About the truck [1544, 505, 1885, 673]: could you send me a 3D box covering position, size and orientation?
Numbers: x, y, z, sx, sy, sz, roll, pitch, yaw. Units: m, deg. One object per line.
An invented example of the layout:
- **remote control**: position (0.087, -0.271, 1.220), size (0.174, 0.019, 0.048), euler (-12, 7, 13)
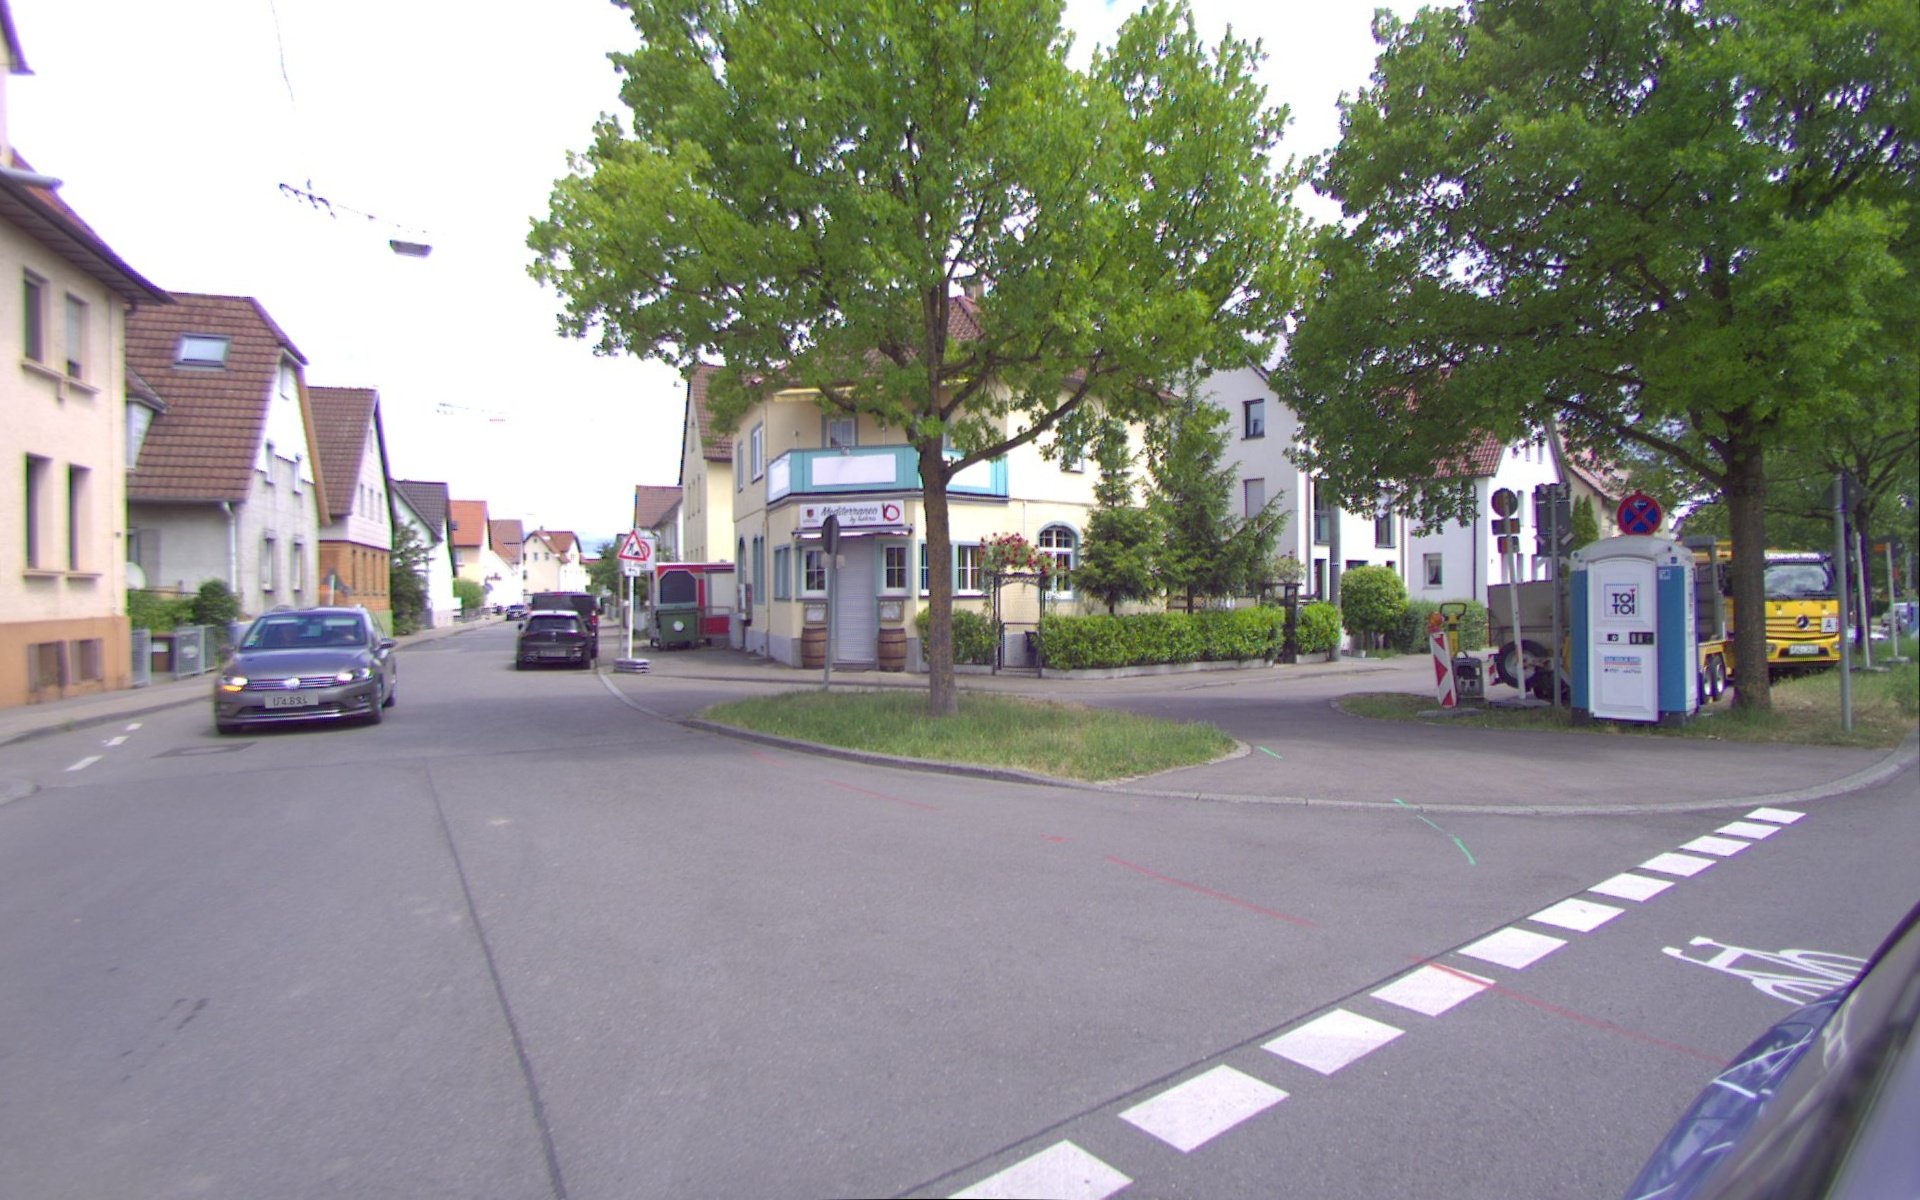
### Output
- **truck**: position (16.538, -0.050, 22.933), size (2.296, 3.241, 6.633), euler (1, -3, -4)

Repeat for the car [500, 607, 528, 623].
- **car**: position (-39.528, 1.343, 89.793), size (1.958, 1.349, 4.008), euler (1, 0, -19)

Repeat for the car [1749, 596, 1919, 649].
- **car**: position (29.087, 0.696, 33.819), size (1.961, 1.598, 4.308), euler (1, 1, -1)

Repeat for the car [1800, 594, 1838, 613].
- **car**: position (80.792, 0.282, 95.204), size (1.983, 1.751, 4.060), euler (0, 0, 30)

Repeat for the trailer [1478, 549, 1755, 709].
- **trailer**: position (11.315, 0.446, 17.256), size (5.577, 2.274, 2.595), euler (0, -2, -43)

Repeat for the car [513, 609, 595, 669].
- **car**: position (-10.301, 0.938, 25.914), size (1.678, 1.395, 4.008), euler (0, 0, -18)

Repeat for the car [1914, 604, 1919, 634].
- **car**: position (57.151, 1.112, 58.933), size (1.990, 1.683, 3.943), euler (0, 0, 39)

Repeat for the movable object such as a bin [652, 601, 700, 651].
- **movable object such as a bin**: position (-8.756, 0.783, 31.209), size (1.384, 1.510, 1.309), euler (0, -1, -17)

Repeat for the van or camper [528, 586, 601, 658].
- **van or camper**: position (-11.893, 0.617, 30.633), size (1.813, 2.024, 4.099), euler (0, 0, -18)

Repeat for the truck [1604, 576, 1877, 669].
- **truck**: position (19.048, 0.585, 25.224), size (1.961, 2.040, 5.958), euler (0, -2, -2)

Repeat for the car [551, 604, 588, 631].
- **car**: position (-23.157, 1.014, 60.079), size (1.891, 1.573, 3.885), euler (1, 0, -19)

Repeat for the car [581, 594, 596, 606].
- **car**: position (-58.564, 0.031, 159.589), size (2.067, 1.896, 3.885), euler (1, 0, -19)

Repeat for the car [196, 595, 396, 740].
- **car**: position (-8.759, 0.795, 13.689), size (1.831, 1.646, 4.005), euler (0, -1, -27)

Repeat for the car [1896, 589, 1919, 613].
- **car**: position (72.092, 0.057, 75.828), size (1.983, 1.751, 4.060), euler (0, 0, 30)
